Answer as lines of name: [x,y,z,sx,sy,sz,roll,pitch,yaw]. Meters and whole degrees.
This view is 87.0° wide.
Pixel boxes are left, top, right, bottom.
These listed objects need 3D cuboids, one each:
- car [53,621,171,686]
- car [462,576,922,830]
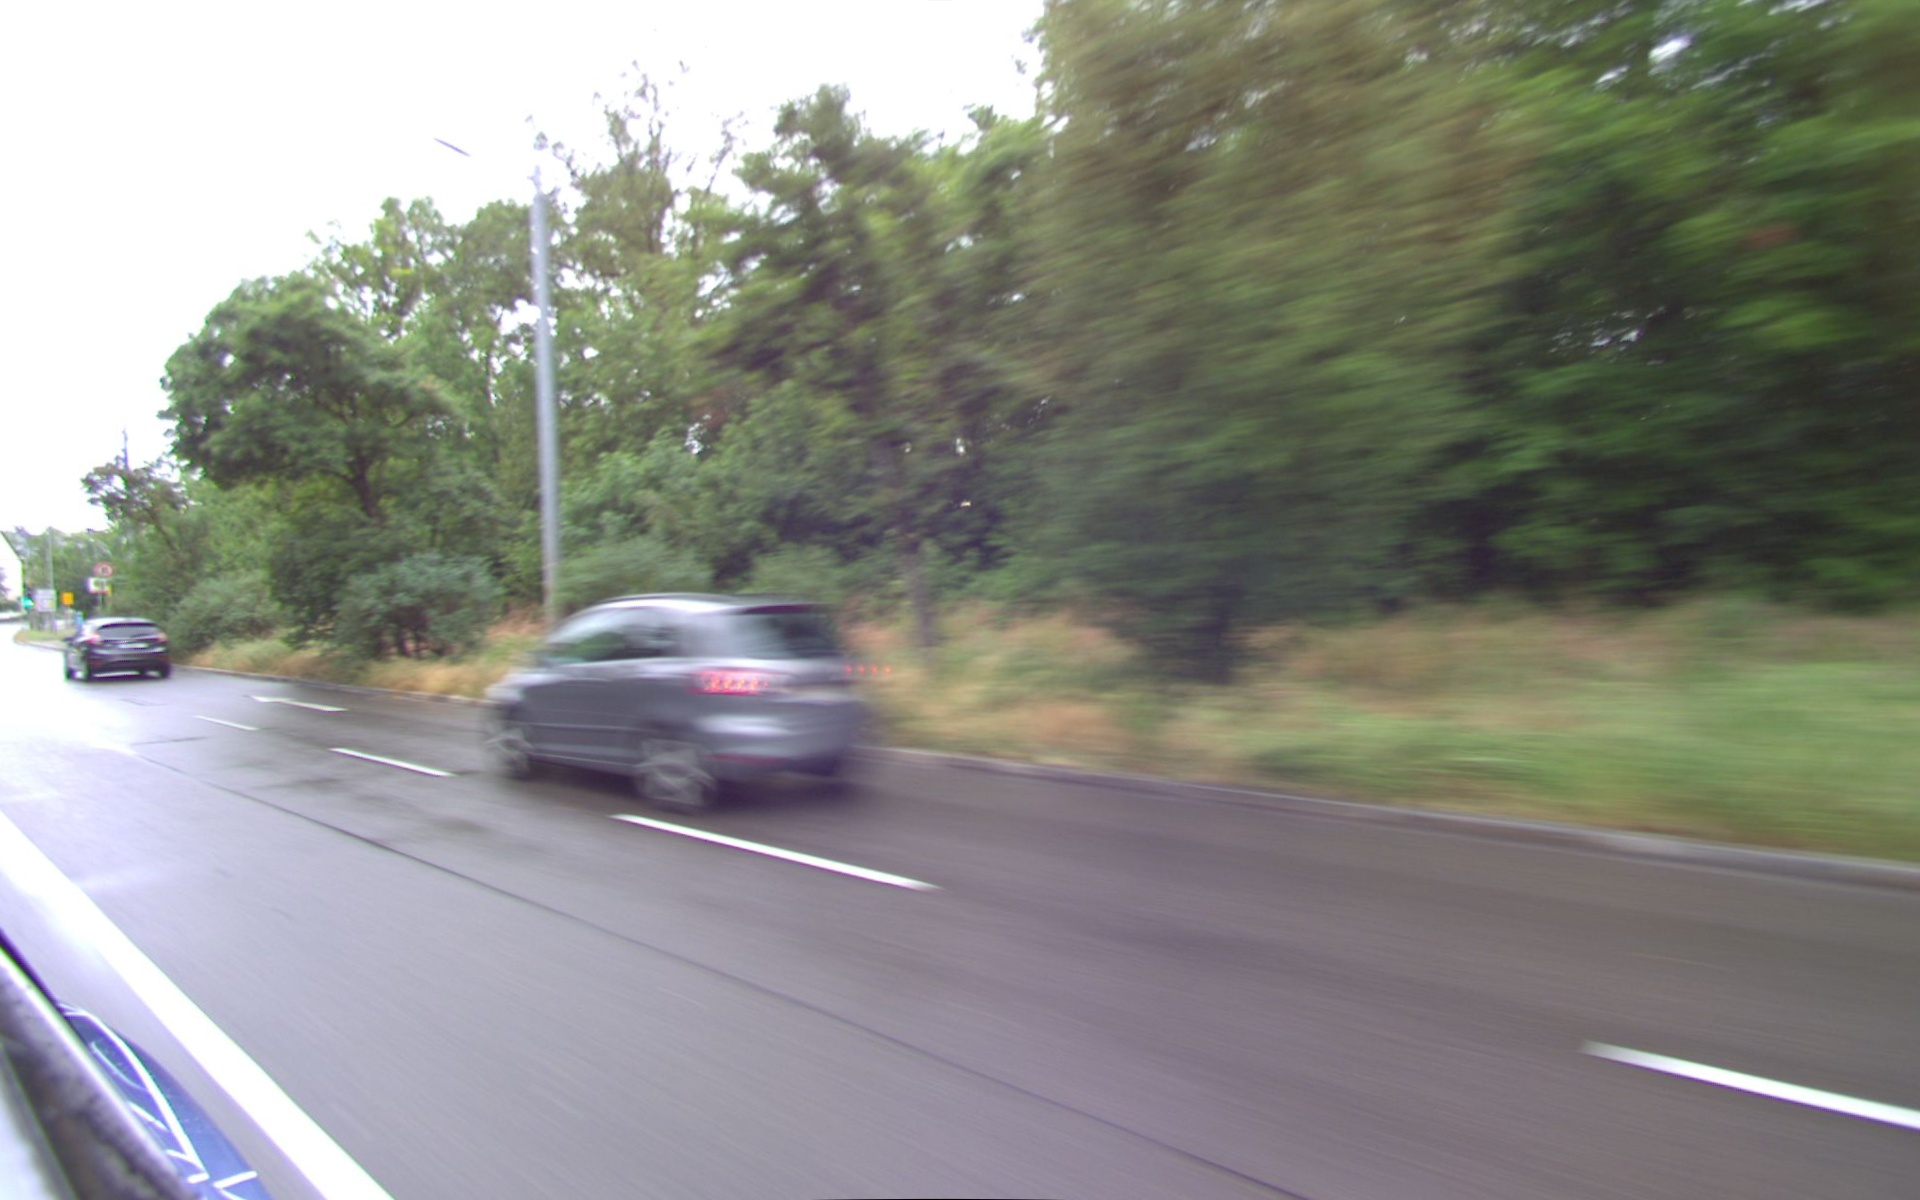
car: [-20.769,1.258,24.739,3.988,1.452,1.582,-2,-1,41]
car: [-2.413,0.688,8.538,4.082,1.622,1.753,-1,0,41]
